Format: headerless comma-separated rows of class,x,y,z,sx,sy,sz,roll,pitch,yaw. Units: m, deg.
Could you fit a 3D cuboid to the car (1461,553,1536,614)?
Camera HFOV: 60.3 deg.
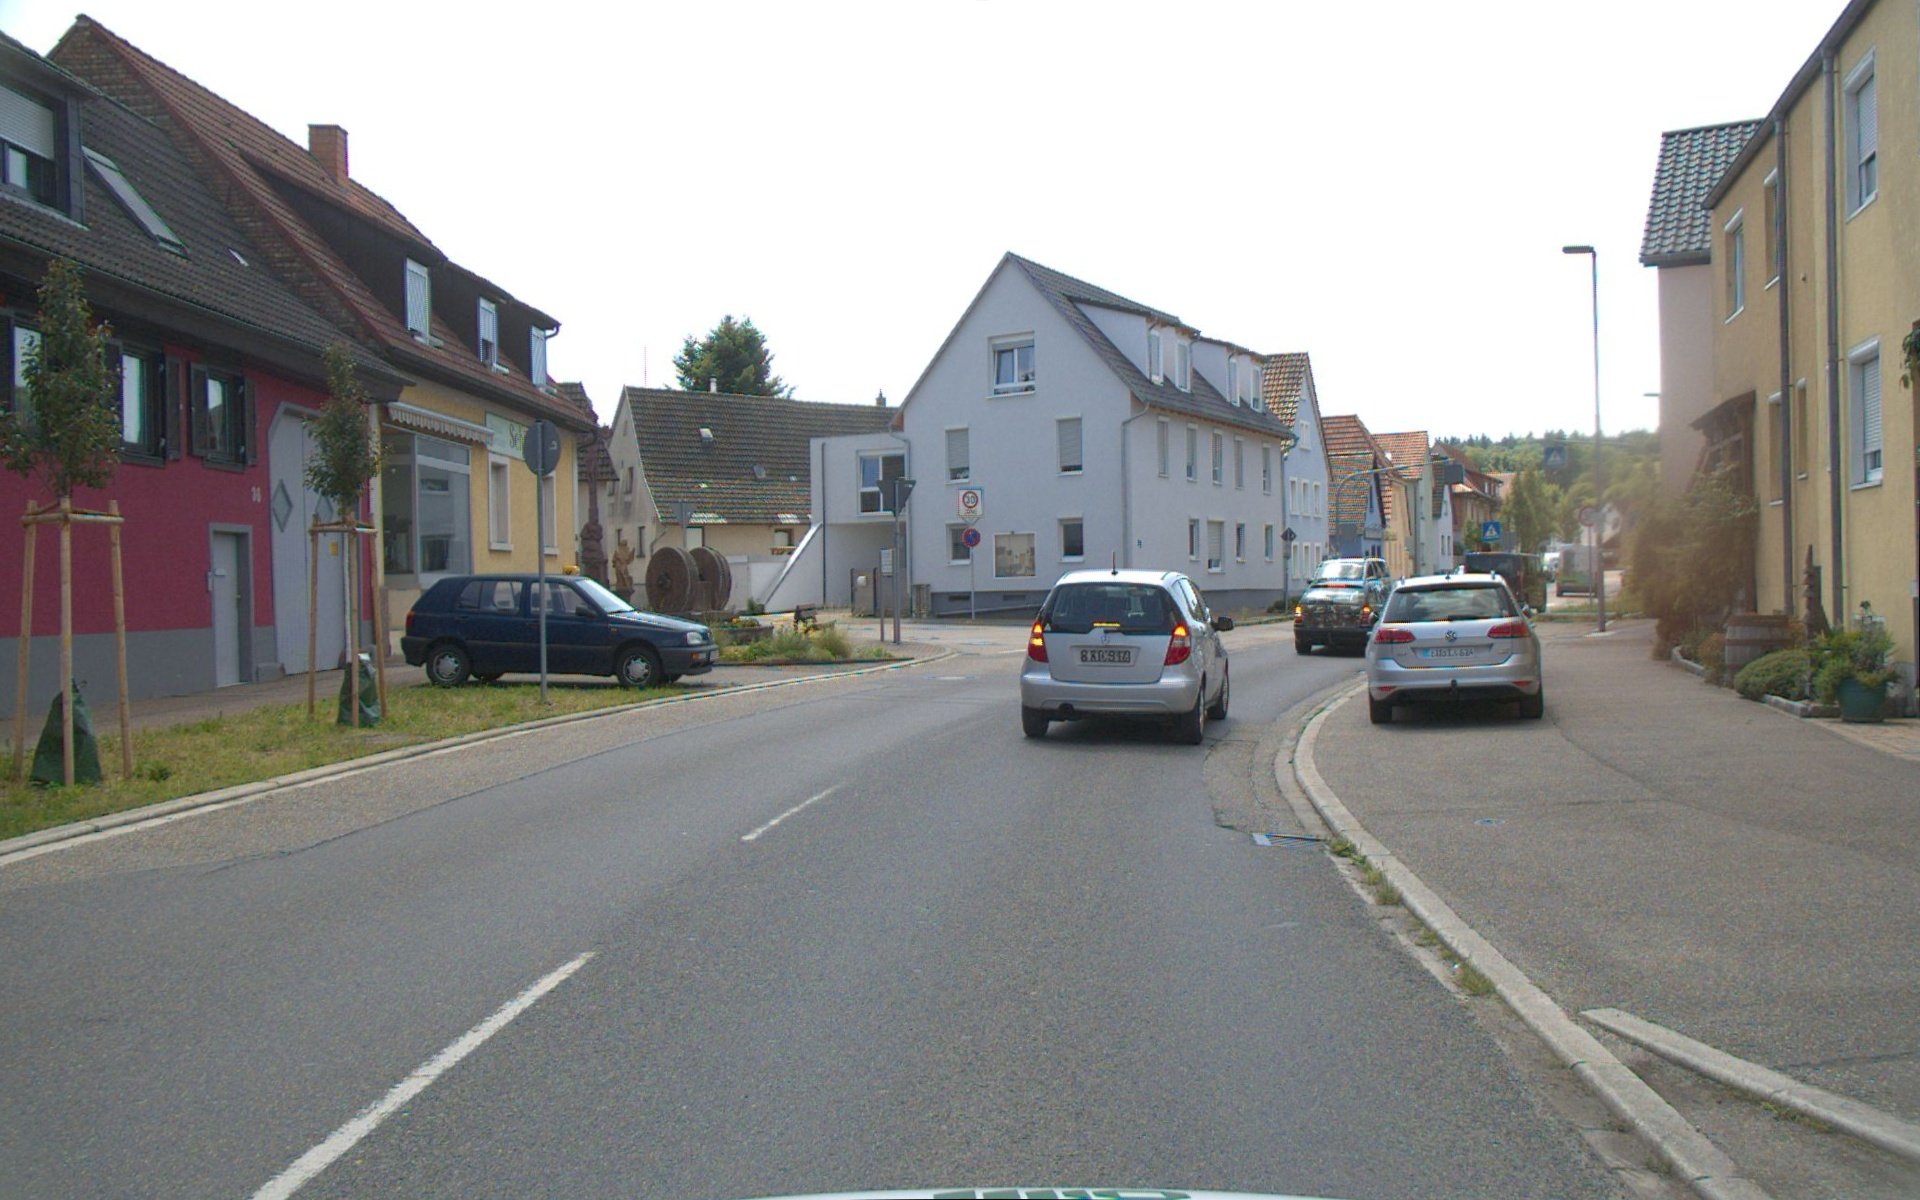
car,17.148,-0.493,52.555,1.953,1.848,3.999,0,-1,23

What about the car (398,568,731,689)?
car,-5.050,0.343,21.490,3.885,1.489,1.721,0,0,1

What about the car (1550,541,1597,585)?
car,30.213,-1.783,81.388,1.953,2.049,3.998,0,-1,24

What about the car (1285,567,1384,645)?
car,7.487,0.130,32.870,1.713,1.441,4.002,0,-1,16

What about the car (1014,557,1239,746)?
car,1.807,0.430,16.877,1.772,1.672,3.732,1,1,13

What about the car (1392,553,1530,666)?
car,7.545,0.146,25.044,1.845,1.557,4.002,0,-1,16

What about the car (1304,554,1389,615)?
car,12.375,-0.441,52.780,1.953,1.831,4.935,0,-1,21

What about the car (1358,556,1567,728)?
car,5.341,0.390,18.004,1.845,1.556,4.339,-3,0,14
